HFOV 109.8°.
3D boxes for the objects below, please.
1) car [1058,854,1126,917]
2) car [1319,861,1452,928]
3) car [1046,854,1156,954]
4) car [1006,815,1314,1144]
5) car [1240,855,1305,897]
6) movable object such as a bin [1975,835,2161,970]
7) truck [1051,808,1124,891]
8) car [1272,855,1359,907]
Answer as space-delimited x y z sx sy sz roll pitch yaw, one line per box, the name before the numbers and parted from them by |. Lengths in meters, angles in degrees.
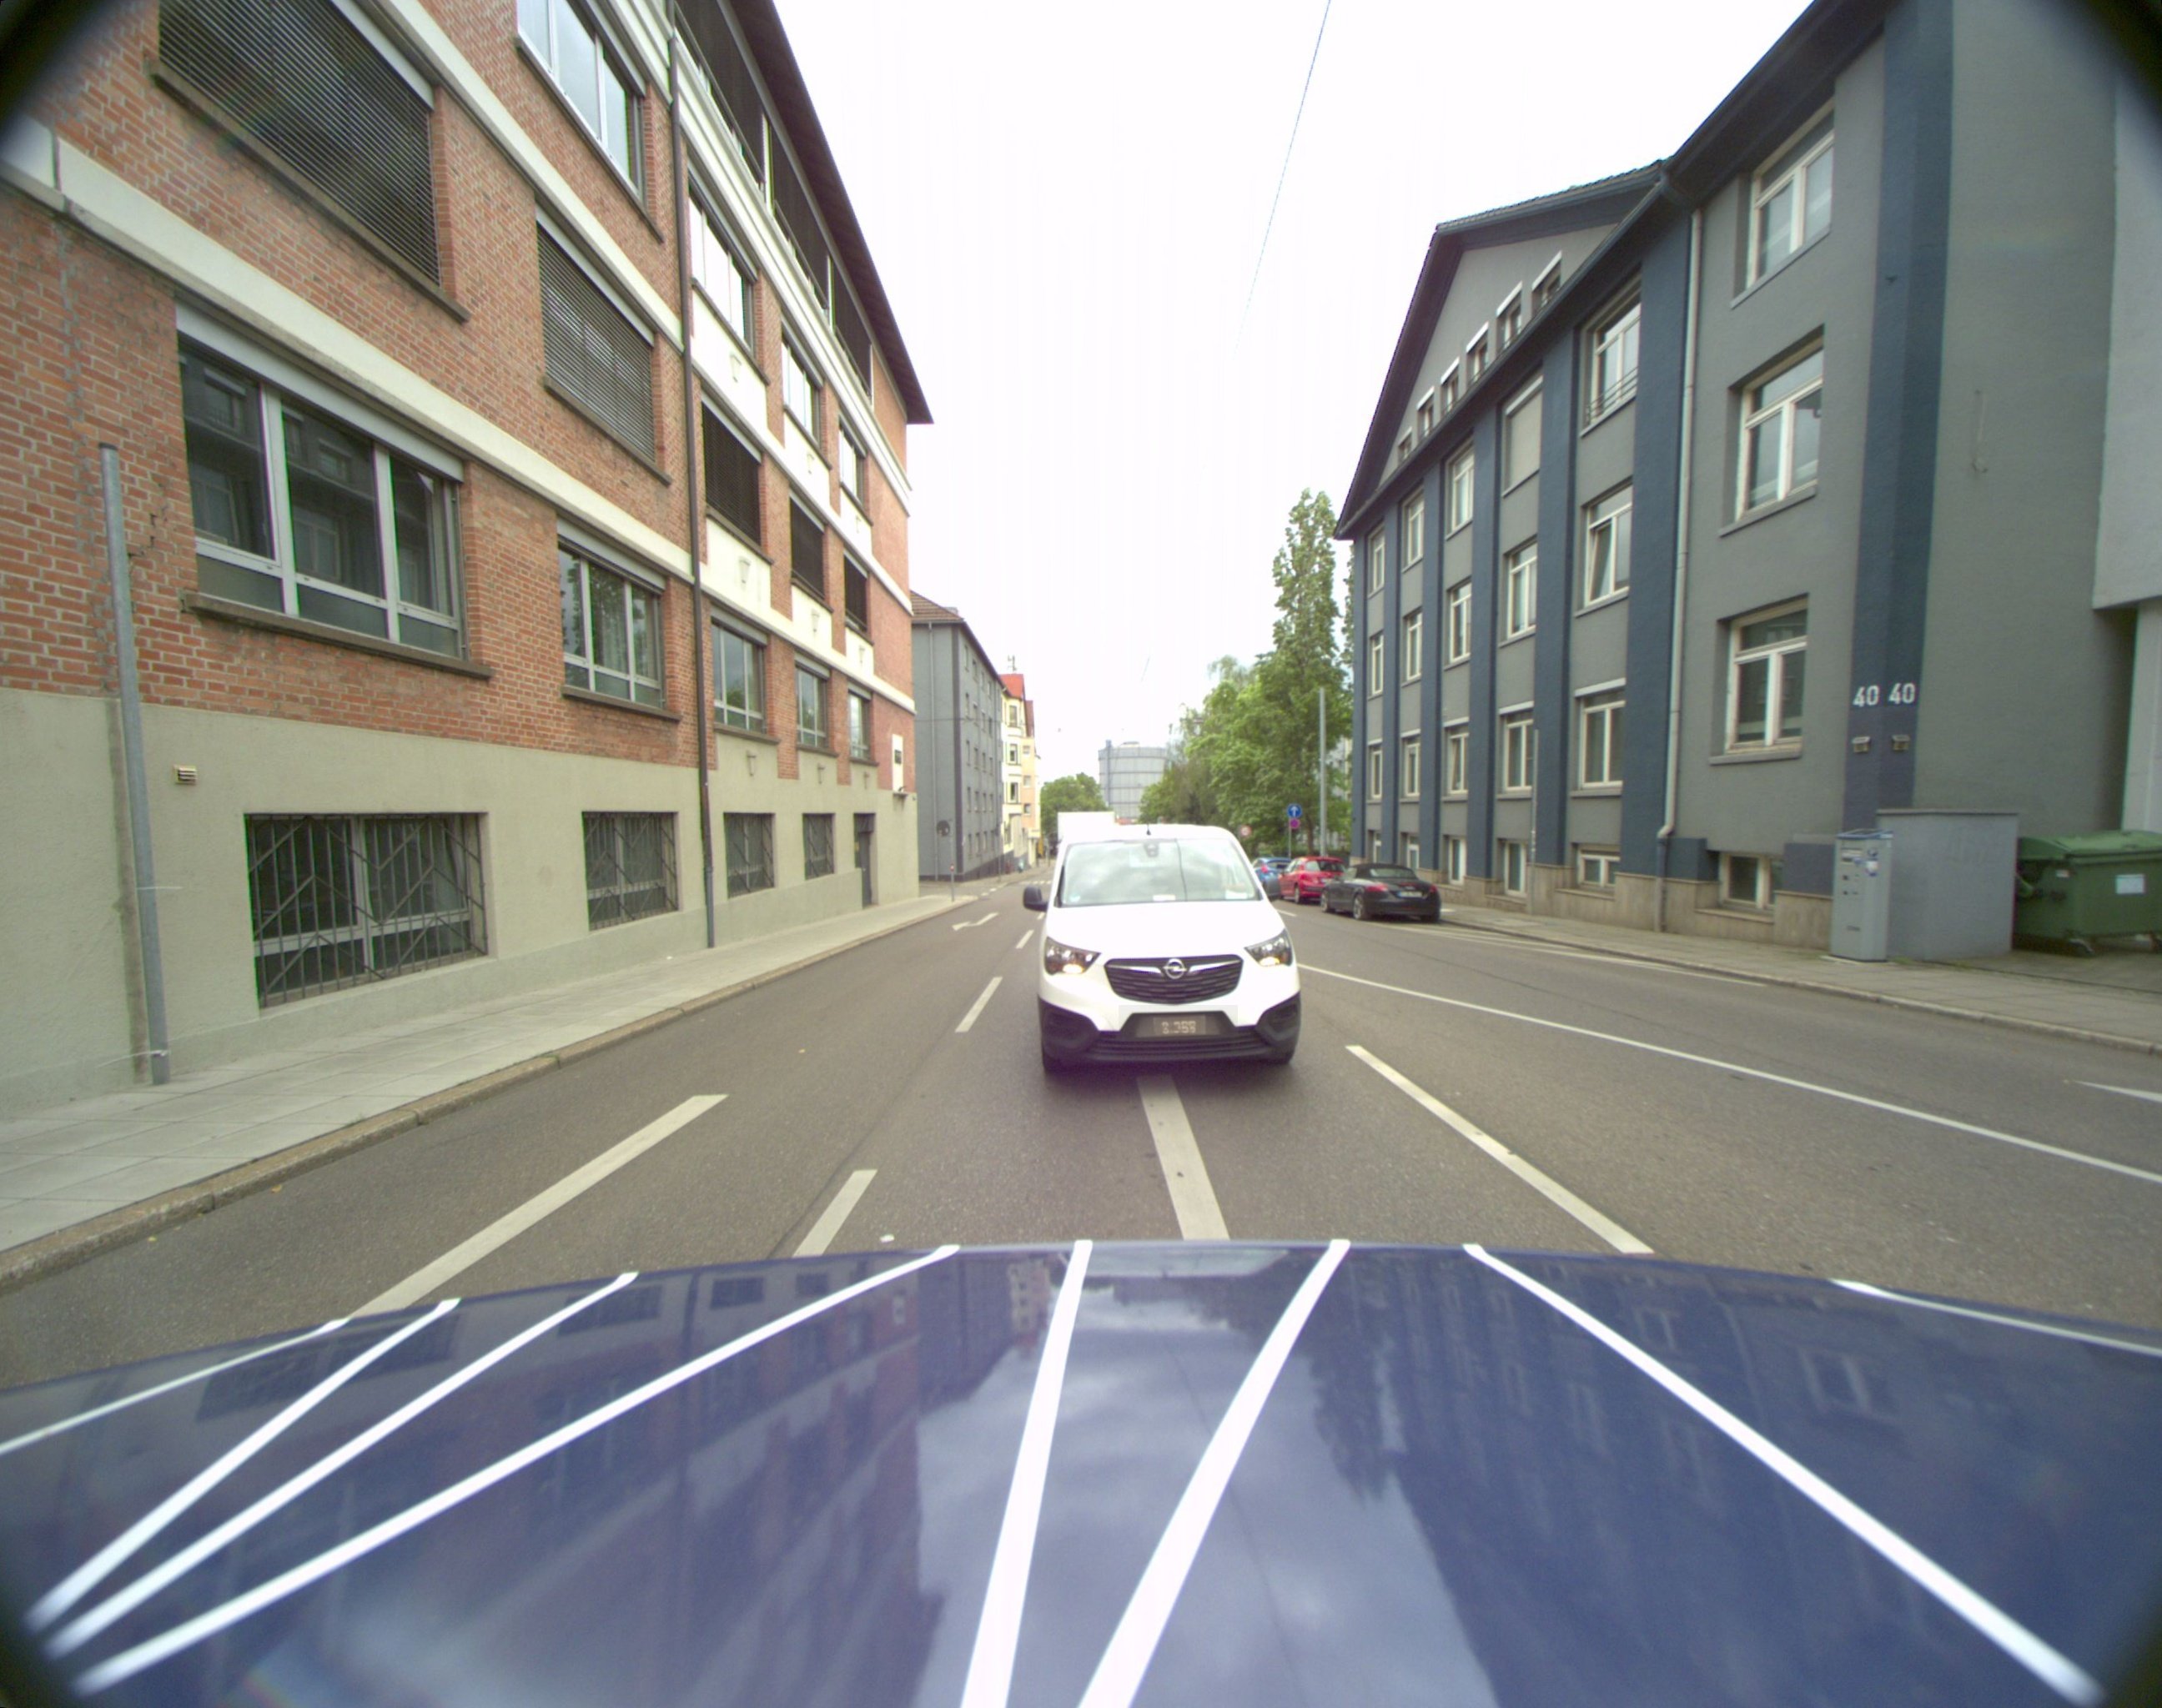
car | 0.316 0.827 21.881 1.739 1.519 3.999 -2 1 1
car | 7.254 0.906 18.509 1.801 1.384 3.729 0 1 1
car | 0.354 0.816 14.389 1.739 1.519 3.999 -2 1 1
car | 0.493 0.721 6.456 1.739 1.875 3.999 -2 1 1
car | 7.485 0.822 30.001 1.644 1.441 3.729 -2 1 1
movable object such as a bin | 12.044 0.549 9.183 1.229 1.498 1.040 -2 1 1
truck | 0.356 -0.256 36.679 2.969 3.409 8.879 -2 1 1
car | 7.397 0.794 24.338 1.644 1.441 3.729 -2 1 1
